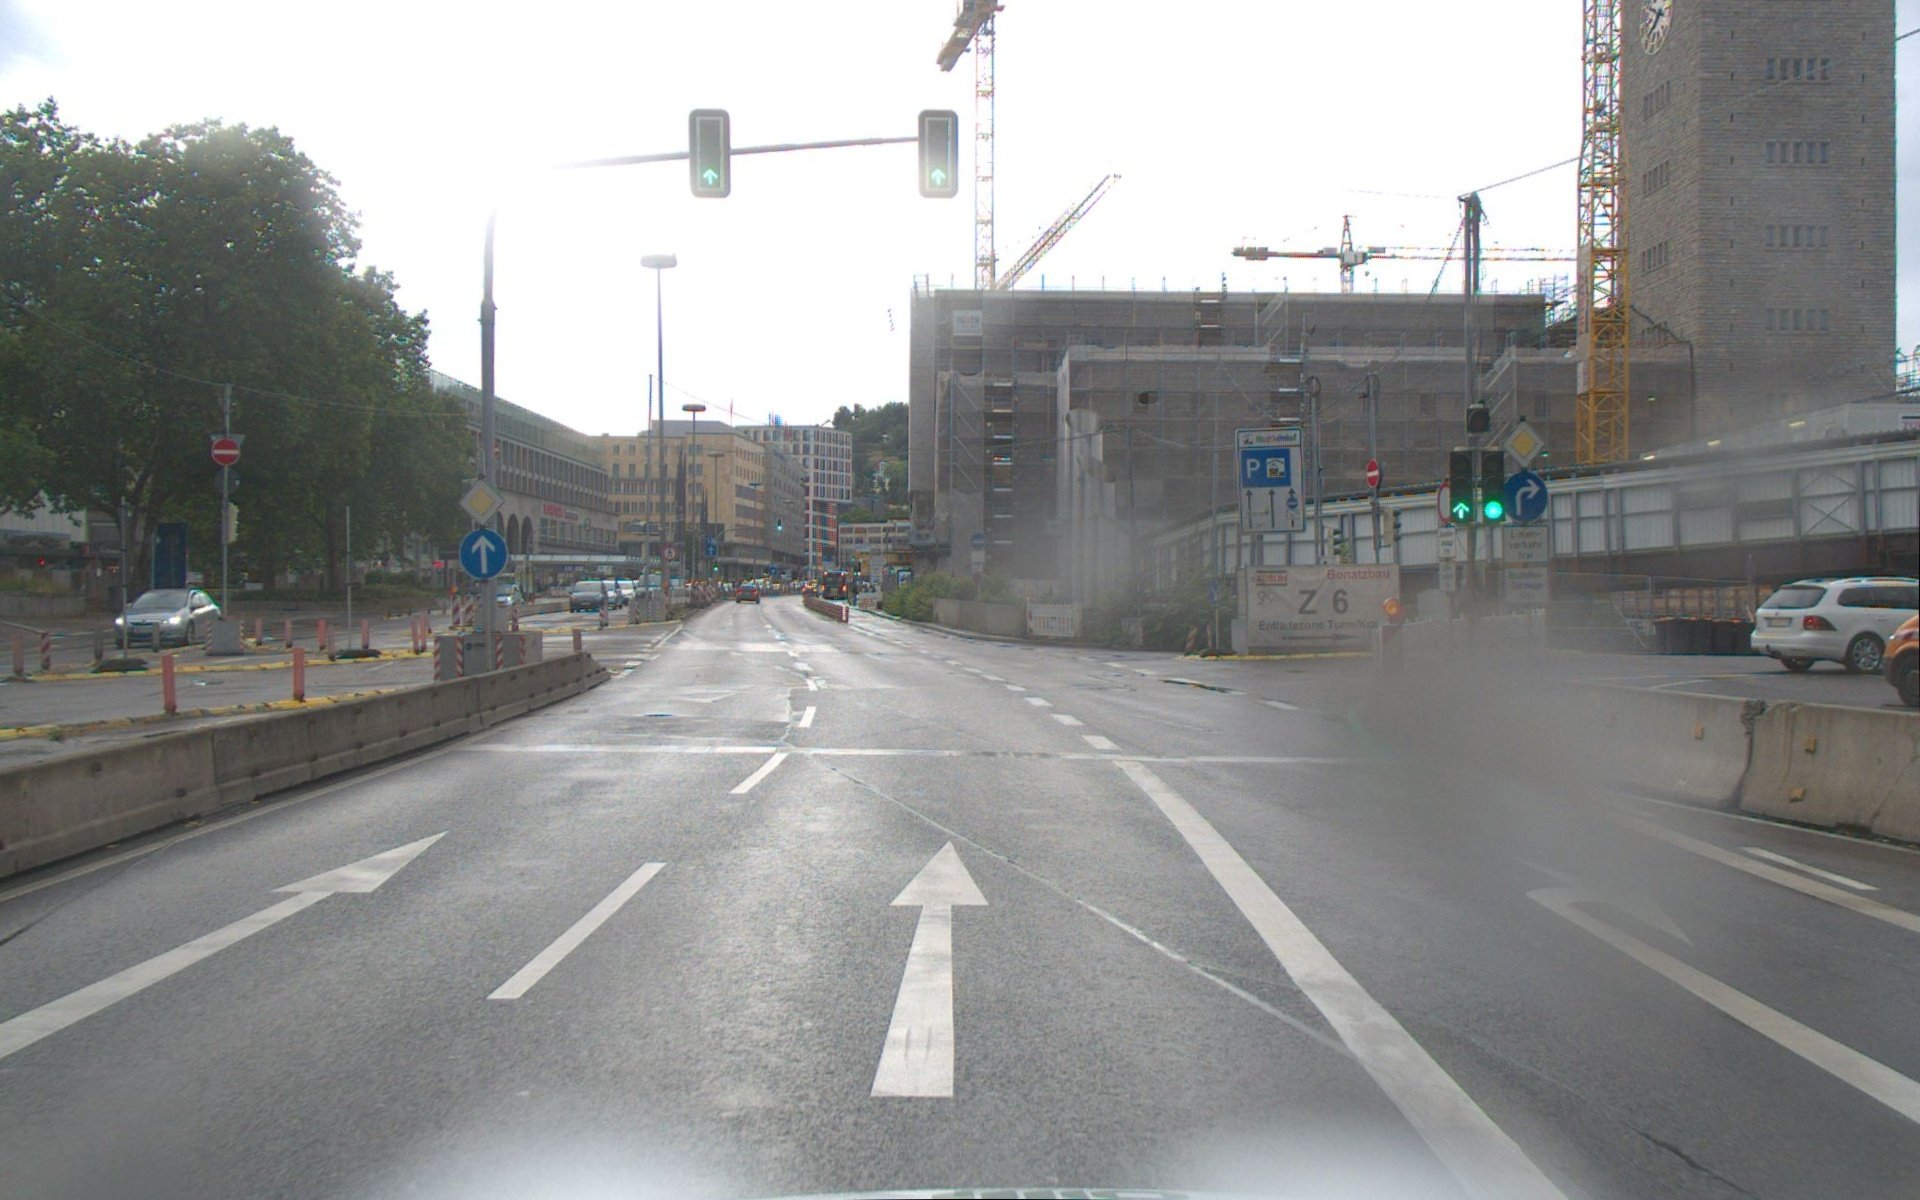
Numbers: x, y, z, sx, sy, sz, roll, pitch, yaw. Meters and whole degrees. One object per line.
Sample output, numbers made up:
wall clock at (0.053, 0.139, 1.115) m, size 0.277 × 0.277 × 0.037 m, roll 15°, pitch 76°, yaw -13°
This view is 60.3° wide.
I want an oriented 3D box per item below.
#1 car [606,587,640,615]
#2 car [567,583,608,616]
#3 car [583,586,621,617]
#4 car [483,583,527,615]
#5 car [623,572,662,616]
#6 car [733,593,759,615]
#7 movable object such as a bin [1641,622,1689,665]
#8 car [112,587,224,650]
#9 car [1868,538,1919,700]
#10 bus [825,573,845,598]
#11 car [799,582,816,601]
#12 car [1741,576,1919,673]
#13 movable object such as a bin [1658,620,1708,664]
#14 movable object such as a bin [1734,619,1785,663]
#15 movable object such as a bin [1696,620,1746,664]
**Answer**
car at (-21.041, 0.088, 103.382) m, size 1.867 × 1.555 × 4.167 m, roll -1°, pitch -2°, yaw -9°
car at (-19.911, -0.025, 88.514) m, size 1.867 × 1.555 × 4.167 m, roll -1°, pitch -2°, yaw -9°
car at (-20.438, 0.102, 94.525) m, size 1.867 × 1.555 × 4.167 m, roll -1°, pitch -2°, yaw -9°
car at (-25.368, -0.052, 92.256) m, size 1.867 × 1.555 × 4.167 m, roll -1°, pitch -2°, yaw -9°
car at (-16.933, -0.280, 88.406) m, size 1.867 × 2.119 × 4.167 m, roll -1°, pitch -2°, yaw -9°
car at (-16.706, 0.329, 129.277) m, size 1.867 × 1.555 × 4.167 m, roll -1°, pitch -2°, yaw -9°
movable object such as a bin at (19.109, 1.181, 44.840) m, size 0.970 × 1.121 × 0.730 m, roll -2°, pitch -2°, yaw 1°
car at (-20.770, 0.469, 43.531) m, size 1.735 × 1.488 × 4.163 m, roll -2°, pitch 0°, yaw -13°
car at (13.142, 0.246, 18.990) m, size 1.878 × 2.010 × 5.147 m, roll 1°, pitch 0°, yaw -12°
bus at (-13.813, -1.603, 183.251) m, size 1.953 × 2.474 × 3.998 m, roll -2°, pitch -2°, yaw -1°
car at (-18.021, -0.947, 195.864) m, size 1.955 × 2.049 × 3.995 m, roll -2°, pitch -2°, yaw -5°
car at (15.206, 0.354, 27.098) m, size 4.127 × 1.478 × 1.810 m, roll -1°, pitch 1°, yaw -12°
movable object such as a bin at (19.172, 1.120, 43.887) m, size 0.970 × 1.121 × 0.747 m, roll -2°, pitch -2°, yaw 1°
movable object such as a bin at (21.203, 1.094, 43.878) m, size 0.970 × 1.121 × 0.730 m, roll -2°, pitch -2°, yaw 1°
movable object such as a bin at (20.189, 1.127, 43.890) m, size 0.970 × 1.121 × 0.730 m, roll -2°, pitch -2°, yaw 1°
